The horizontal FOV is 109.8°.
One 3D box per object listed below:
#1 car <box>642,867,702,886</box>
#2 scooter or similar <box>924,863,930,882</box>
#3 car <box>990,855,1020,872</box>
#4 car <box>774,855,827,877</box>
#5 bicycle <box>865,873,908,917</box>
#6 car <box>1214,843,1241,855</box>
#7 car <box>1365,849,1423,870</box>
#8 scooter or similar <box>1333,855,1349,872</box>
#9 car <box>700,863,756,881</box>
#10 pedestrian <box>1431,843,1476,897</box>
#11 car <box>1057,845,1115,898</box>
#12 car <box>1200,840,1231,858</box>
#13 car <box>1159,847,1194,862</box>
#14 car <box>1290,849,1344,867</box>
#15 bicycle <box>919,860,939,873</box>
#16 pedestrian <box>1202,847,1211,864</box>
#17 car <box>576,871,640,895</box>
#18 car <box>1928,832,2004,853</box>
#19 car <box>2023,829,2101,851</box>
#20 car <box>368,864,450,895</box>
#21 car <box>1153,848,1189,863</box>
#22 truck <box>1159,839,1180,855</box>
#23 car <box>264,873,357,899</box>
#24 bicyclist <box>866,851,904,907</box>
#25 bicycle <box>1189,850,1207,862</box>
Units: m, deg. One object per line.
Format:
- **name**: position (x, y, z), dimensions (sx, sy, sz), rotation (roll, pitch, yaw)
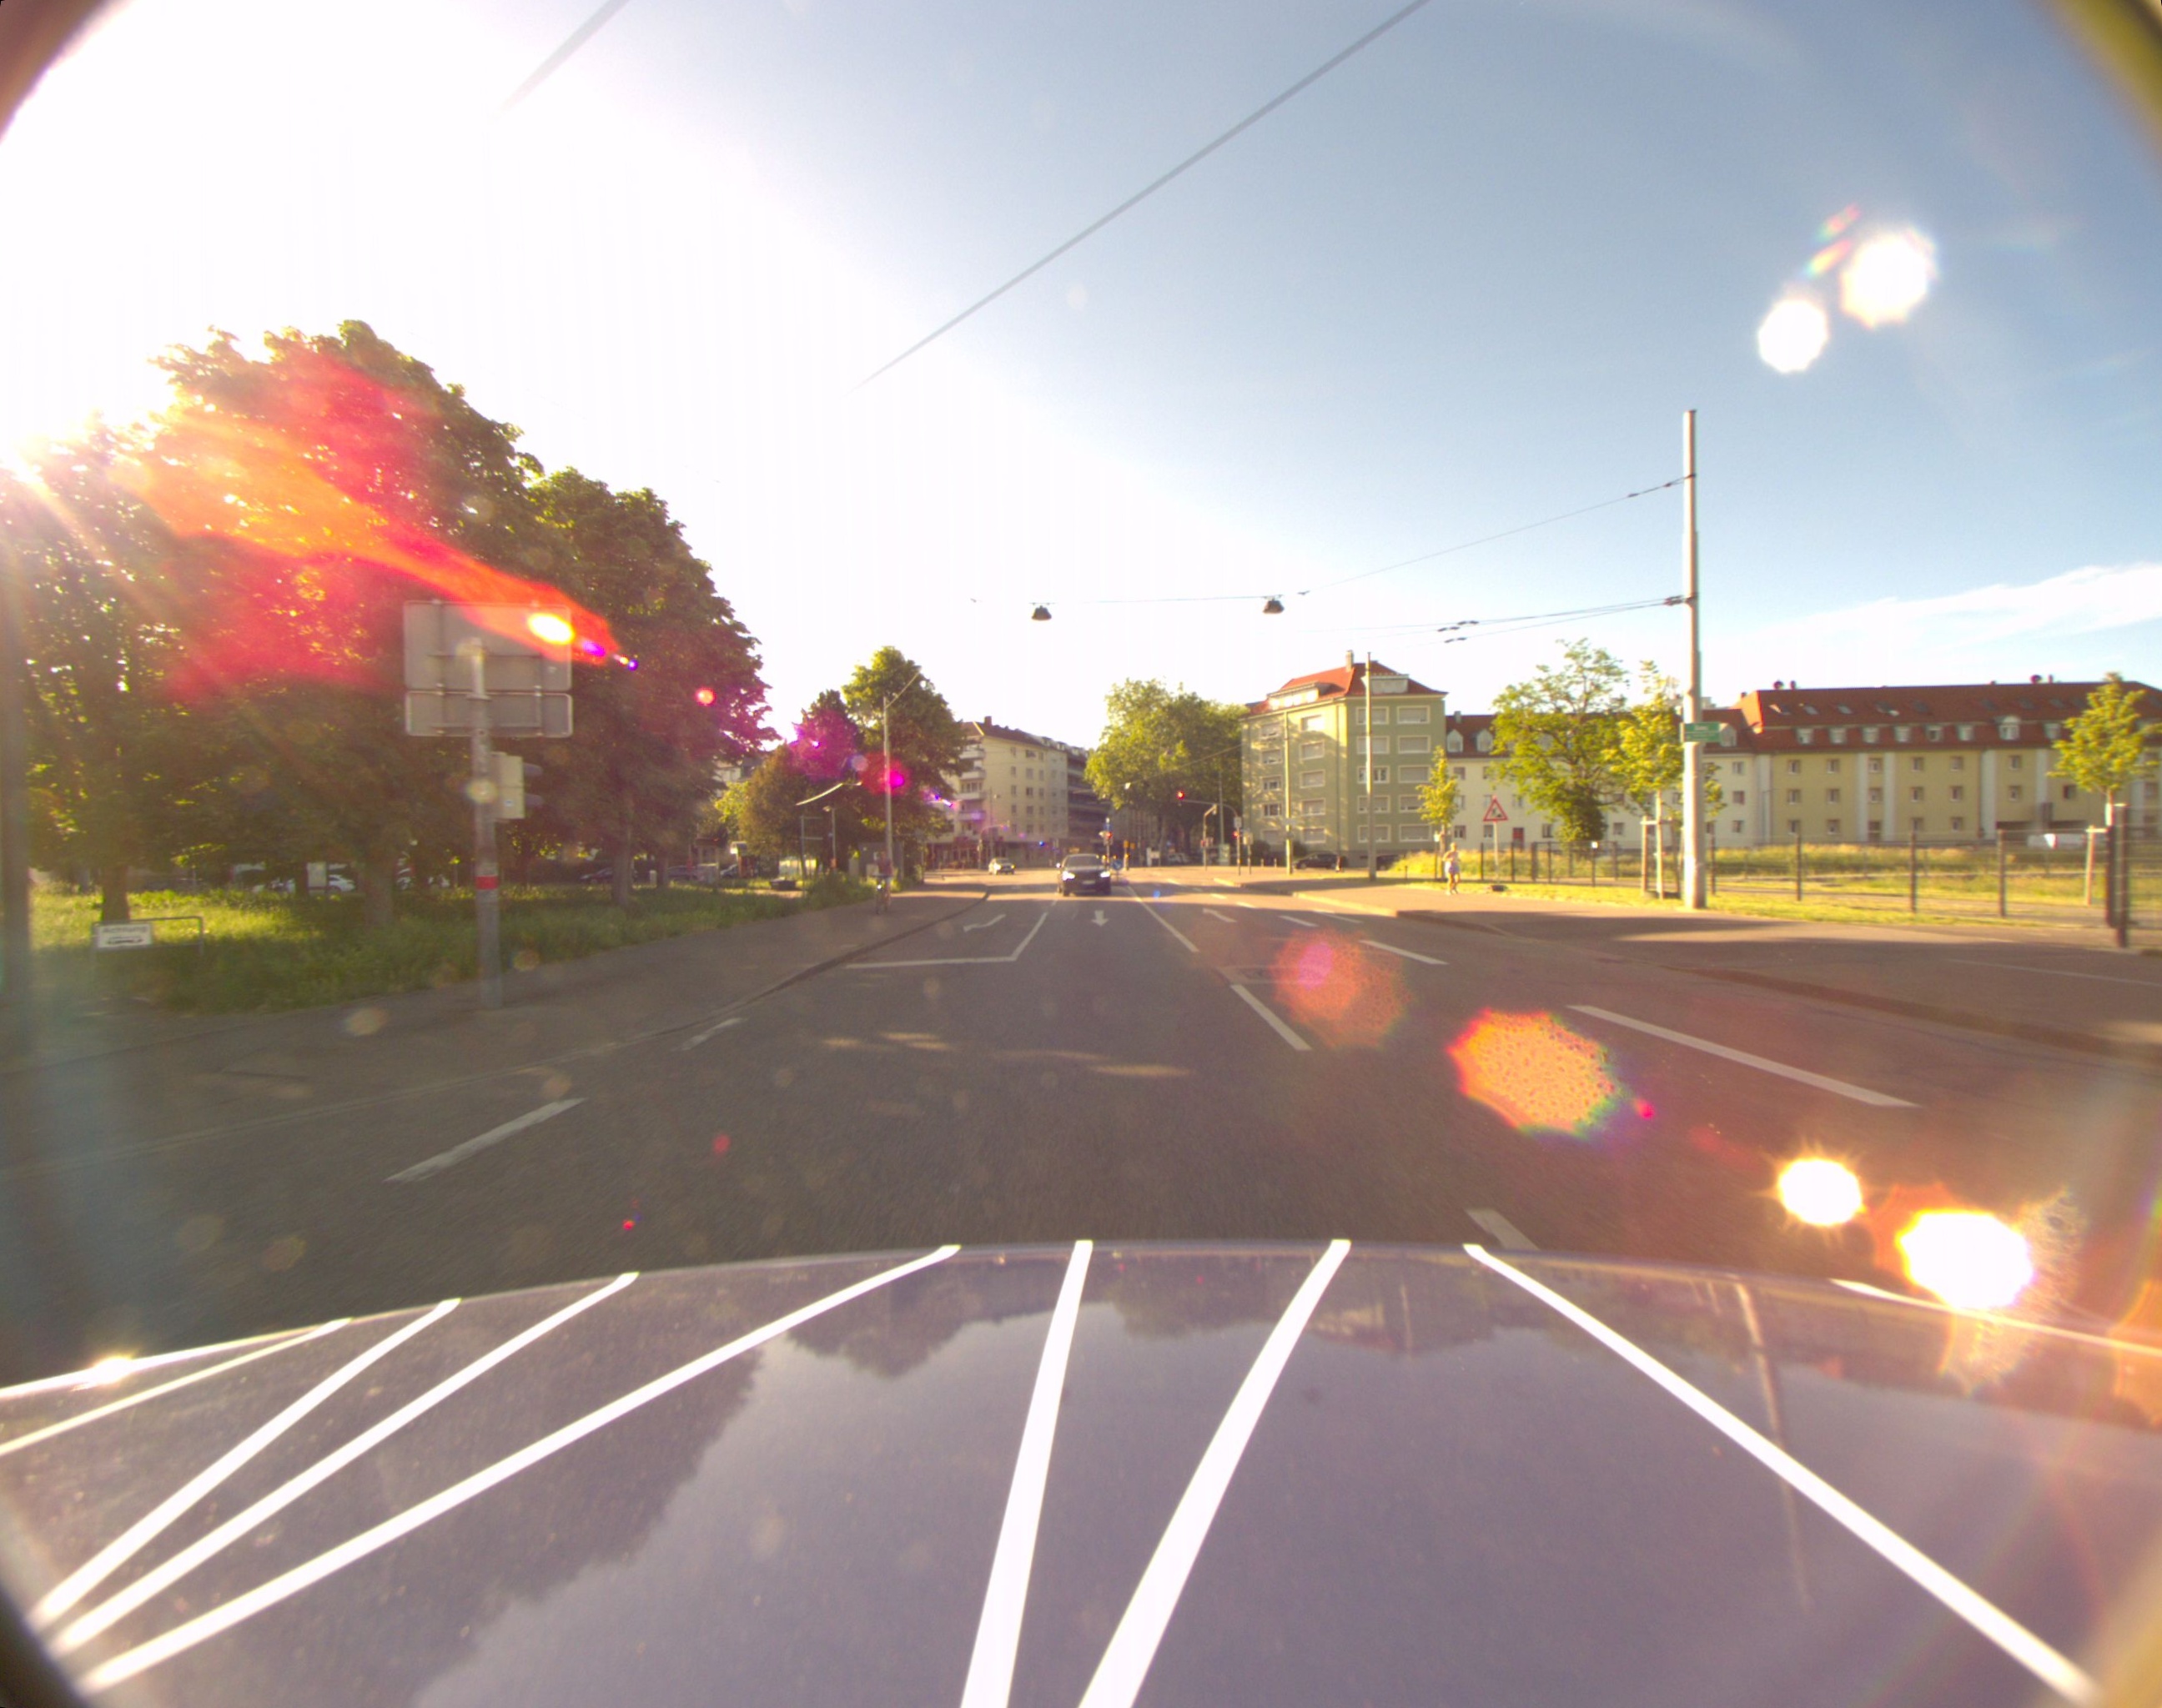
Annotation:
- **car**: position (-36.214, 1.966, 67.345), dimensions (1.994, 1.337, 4.193), rotation (-1, 2, 45)
- **scooter or similar**: position (-10.159, 1.222, 50.149), dimensions (0.385, 1.211, 1.832), rotation (1, -1, -12)
- **car**: position (-6.760, 0.841, 67.303), dimensions (1.704, 1.432, 3.640), rotation (-2, 0, -22)
- **car**: position (-27.524, 1.180, 74.614), dimensions (1.994, 1.847, 4.256), rotation (-1, 3, 45)
- **bicycle**: position (-5.699, 1.177, 22.385), dimensions (0.720, 1.185, 2.001), rotation (0, 0, 1)
- **car**: position (24.526, -0.870, 127.232), dimensions (3.992, 1.827, 1.818), rotation (-2, 2, 22)
- **car**: position (24.744, 0.425, 60.120), dimensions (3.900, 1.520, 1.701), rotation (-1, -3, -2)
- **scooter or similar**: position (18.955, 0.697, 55.415), dimensions (0.593, 1.137, 1.270), rotation (0, -3, 42)
- **car**: position (-32.613, 1.691, 70.221), dimensions (1.994, 1.340, 4.193), rotation (-1, 2, 45)
- **pedestrian**: position (11.704, 0.492, 23.920), dimensions (0.834, 1.620, 1.181), rotation (-3, 1, 4)
- **car**: position (0.130, 0.660, 32.098), dimensions (1.941, 1.923, 4.521), rotation (-3, 2, -5)
- **car**: position (20.997, -0.806, 118.744), dimensions (4.412, 2.612, 1.972), rotation (-2, 2, 22)
- **car**: position (12.286, 0.069, 97.911), dimensions (4.140, 1.631, 1.777), rotation (-2, 2, 22)
- **car**: position (20.934, 0.374, 67.394), dimensions (4.204, 1.484, 1.943), rotation (-1, -1, 2)
- **bicycle**: position (-13.759, 1.123, 68.897), dimensions (0.626, 1.120, 1.810), rotation (-2, 0, 34)
- **pedestrian**: position (14.987, 0.198, 90.589), dimensions (0.695, 1.953, 0.929), rotation (-2, 2, 31)
- **car**: position (-39.979, 2.434, 64.289), dimensions (1.994, 1.707, 4.193), rotation (-1, 3, 45)
- **car**: position (69.176, -0.891, 59.423), dimensions (3.900, 1.520, 1.701), rotation (-1, -3, -2)
- **car**: position (76.418, -1.091, 59.223), dimensions (3.900, 1.520, 1.701), rotation (-1, -3, -2)
- **car**: position (-49.514, 1.855, 56.060), dimensions (4.340, 1.953, 1.905), rotation (-5, 3, -44)
- **car**: position (11.306, 0.189, 95.777), dimensions (4.140, 1.631, 1.777), rotation (-2, 2, 22)
- **truck**: position (18.017, -1.424, 153.972), dimensions (2.339, 2.956, 8.040), rotation (-2, 2, 20)
- **car**: position (-53.379, 2.193, 52.757), dimensions (4.385, 1.420, 1.687), rotation (-5, 2, -44)
- **bicyclist**: position (-5.765, 0.711, 22.414), dimensions (0.813, 1.590, 1.149), rotation (0, 0, 1)
- **bicycle**: position (13.807, 0.223, 89.759), dimensions (2.047, 1.454, 0.727), rotation (1, 4, 30)
